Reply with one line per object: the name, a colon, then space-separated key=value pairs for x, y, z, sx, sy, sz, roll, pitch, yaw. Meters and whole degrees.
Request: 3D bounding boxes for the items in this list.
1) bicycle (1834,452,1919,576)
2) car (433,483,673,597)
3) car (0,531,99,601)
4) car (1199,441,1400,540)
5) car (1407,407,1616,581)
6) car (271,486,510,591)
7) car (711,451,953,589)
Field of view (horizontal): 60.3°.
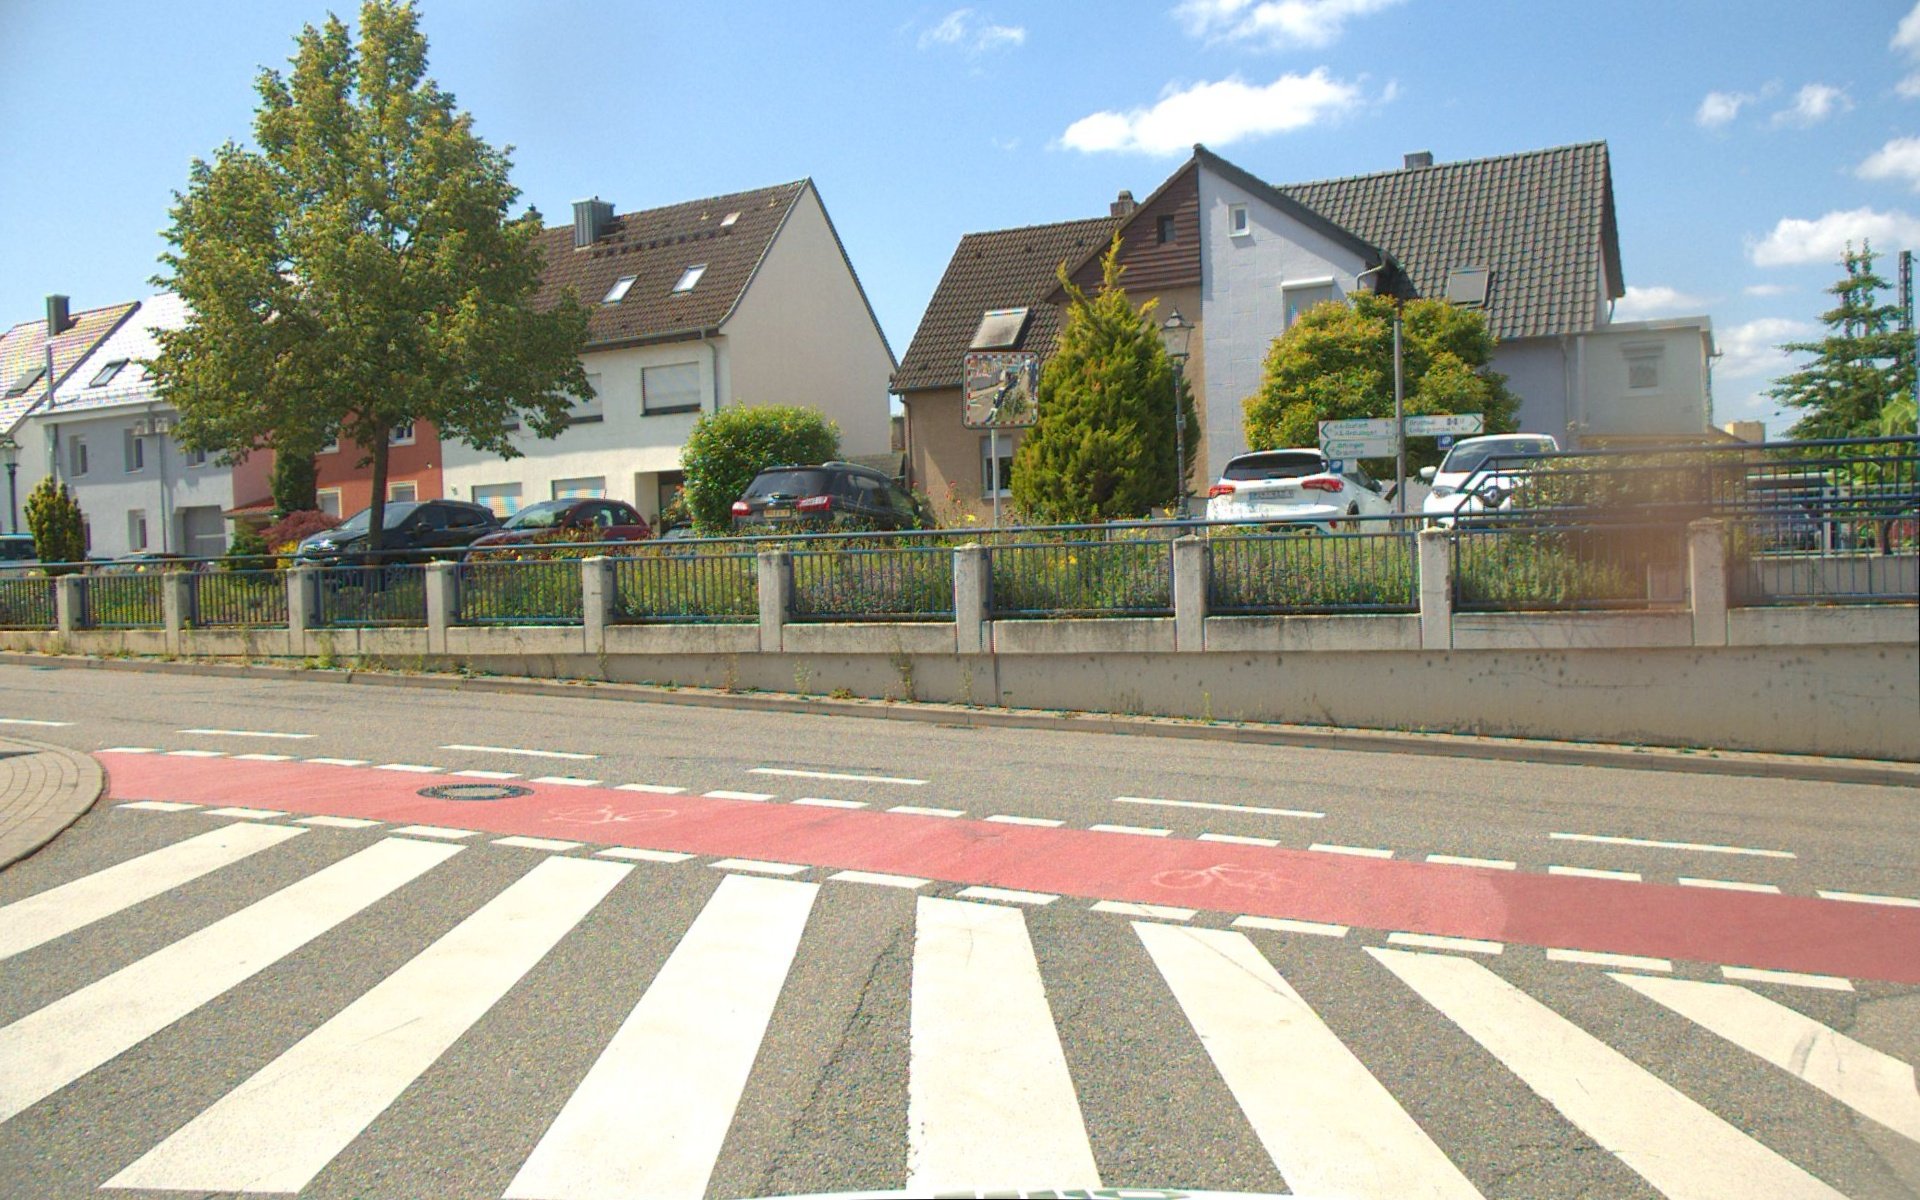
bicycle: x=9.356 y=-0.819 z=15.463 sx=2.070 sy=1.145 sz=0.333 roll=-1 pitch=2 yaw=18
car: x=-6.345 y=-0.913 z=26.143 sx=1.830 sy=1.614 sz=3.608 roll=3 pitch=1 yaw=24
car: x=-21.553 y=-0.778 z=36.517 sx=1.710 sy=1.514 sz=4.248 roll=3 pitch=2 yaw=30
car: x=4.399 y=-1.357 z=21.073 sx=1.788 sy=1.037 sz=3.458 roll=3 pitch=2 yaw=24
car: x=6.772 y=-1.203 z=20.022 sx=1.954 sy=1.828 sz=4.195 roll=3 pitch=1 yaw=24
car: x=-9.539 y=-1.004 z=27.989 sx=1.830 sy=1.614 sz=3.608 roll=3 pitch=1 yaw=24
car: x=-1.777 y=-1.114 z=24.355 sx=1.830 sy=1.828 sz=3.998 roll=3 pitch=1 yaw=24
